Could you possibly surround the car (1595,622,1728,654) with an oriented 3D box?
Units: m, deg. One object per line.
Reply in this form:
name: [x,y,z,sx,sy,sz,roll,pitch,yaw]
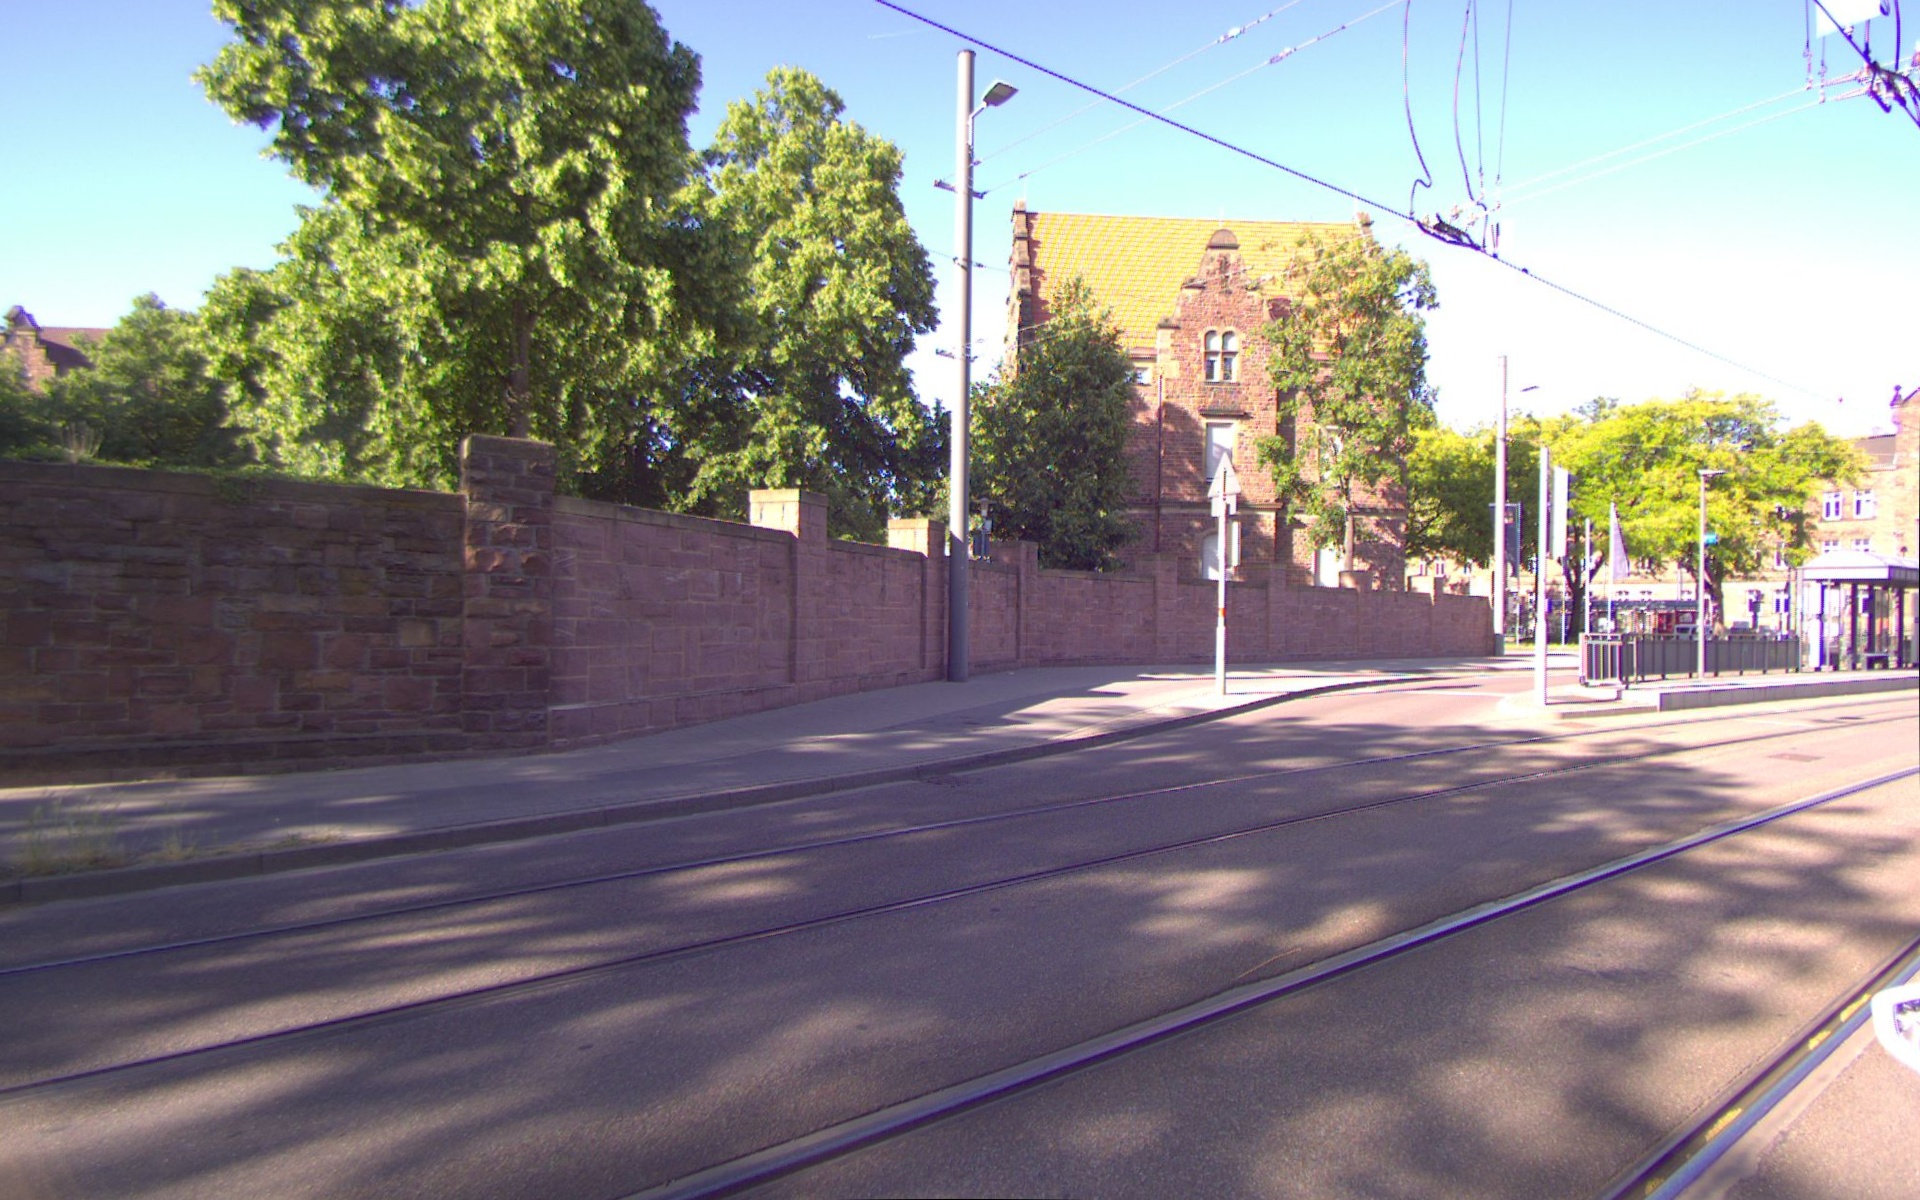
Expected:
car: [47.925,2.587,68.801,2.957,1.946,6.915,1,-1,-30]
